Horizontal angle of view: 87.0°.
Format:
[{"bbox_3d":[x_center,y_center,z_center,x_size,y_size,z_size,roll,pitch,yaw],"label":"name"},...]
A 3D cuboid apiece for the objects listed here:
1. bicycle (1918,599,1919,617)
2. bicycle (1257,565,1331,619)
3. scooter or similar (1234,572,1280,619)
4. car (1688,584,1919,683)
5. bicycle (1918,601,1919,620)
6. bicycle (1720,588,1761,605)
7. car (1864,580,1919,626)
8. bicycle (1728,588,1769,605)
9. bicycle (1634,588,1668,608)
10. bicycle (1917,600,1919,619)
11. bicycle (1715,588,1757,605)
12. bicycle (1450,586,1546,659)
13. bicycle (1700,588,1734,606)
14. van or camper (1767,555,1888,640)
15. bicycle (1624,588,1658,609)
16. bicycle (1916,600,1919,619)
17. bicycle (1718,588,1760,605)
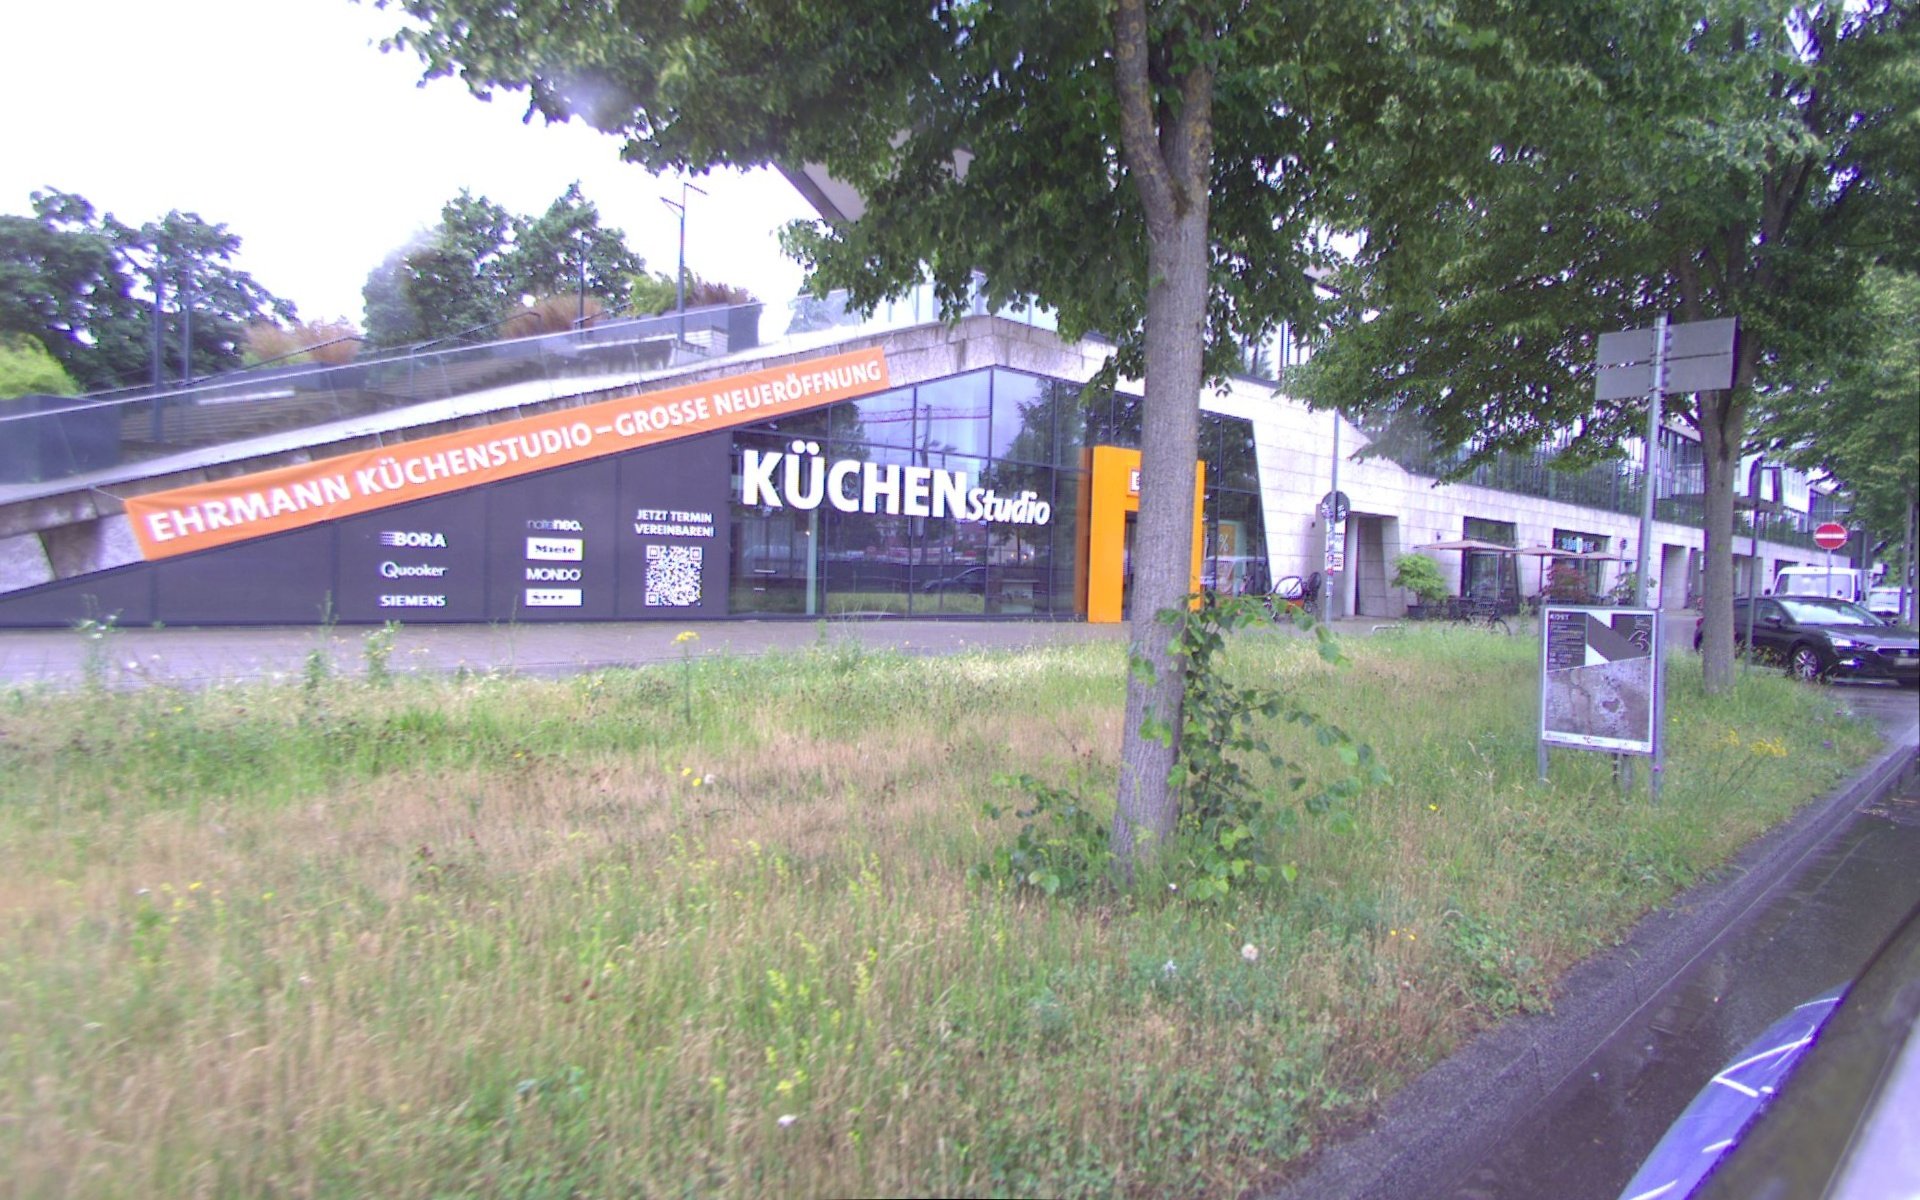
[{"bbox_3d":[51.052,0.419,52.440,0.389,0.958,2.036,-1,0,-44],"label":"bicycle"},{"bbox_3d":[9.310,-0.212,28.156,2.382,1.419,0.734,1,3,-40],"label":"bicycle"},{"bbox_3d":[7.947,-0.127,27.092,1.214,1.243,0.343,-1,0,-22],"label":"scooter or similar"},{"bbox_3d":[14.828,0.475,17.493,1.802,1.437,4.336,1,2,8],"label":"car"},{"bbox_3d":[47.633,0.521,49.098,0.389,0.958,1.695,-1,0,-44],"label":"bicycle"},{"bbox_3d":[49.847,-0.211,64.627,0.389,0.957,2.025,0,3,-44],"label":"bicycle"},{"bbox_3d":[39.407,0.079,42.407,4.765,1.781,1.744,-1,2,-42],"label":"car"},{"bbox_3d":[51.233,-0.222,65.782,0.389,0.957,2.025,0,3,-44],"label":"bicycle"},{"bbox_3d":[33.466,-0.092,49.052,0.388,0.958,2.027,-1,0,4],"label":"bicycle"},{"bbox_3d":[48.557,0.469,50.045,0.389,0.958,1.788,-1,0,-44],"label":"bicycle"},{"bbox_3d":[48.897,-0.205,63.776,0.389,0.957,2.025,0,3,-44],"label":"bicycle"},{"bbox_3d":[10.733,0.421,20.263,0.521,1.363,1.852,2,0,-15],"label":"bicycle"},{"bbox_3d":[46.089,-0.190,61.653,0.339,0.957,1.665,1,3,-22],"label":"bicycle"},{"bbox_3d":[25.932,-0.116,30.166,5.366,2.321,2.029,-1,2,-42],"label":"van or camper"},{"bbox_3d":[32.854,-0.085,48.881,0.388,0.958,2.027,-1,0,4],"label":"bicycle"},{"bbox_3d":[49.032,0.459,50.516,0.389,0.958,1.857,-1,0,-44],"label":"bicycle"},{"bbox_3d":[49.418,-0.207,64.229,0.389,0.957,2.025,0,3,-44],"label":"bicycle"}]
